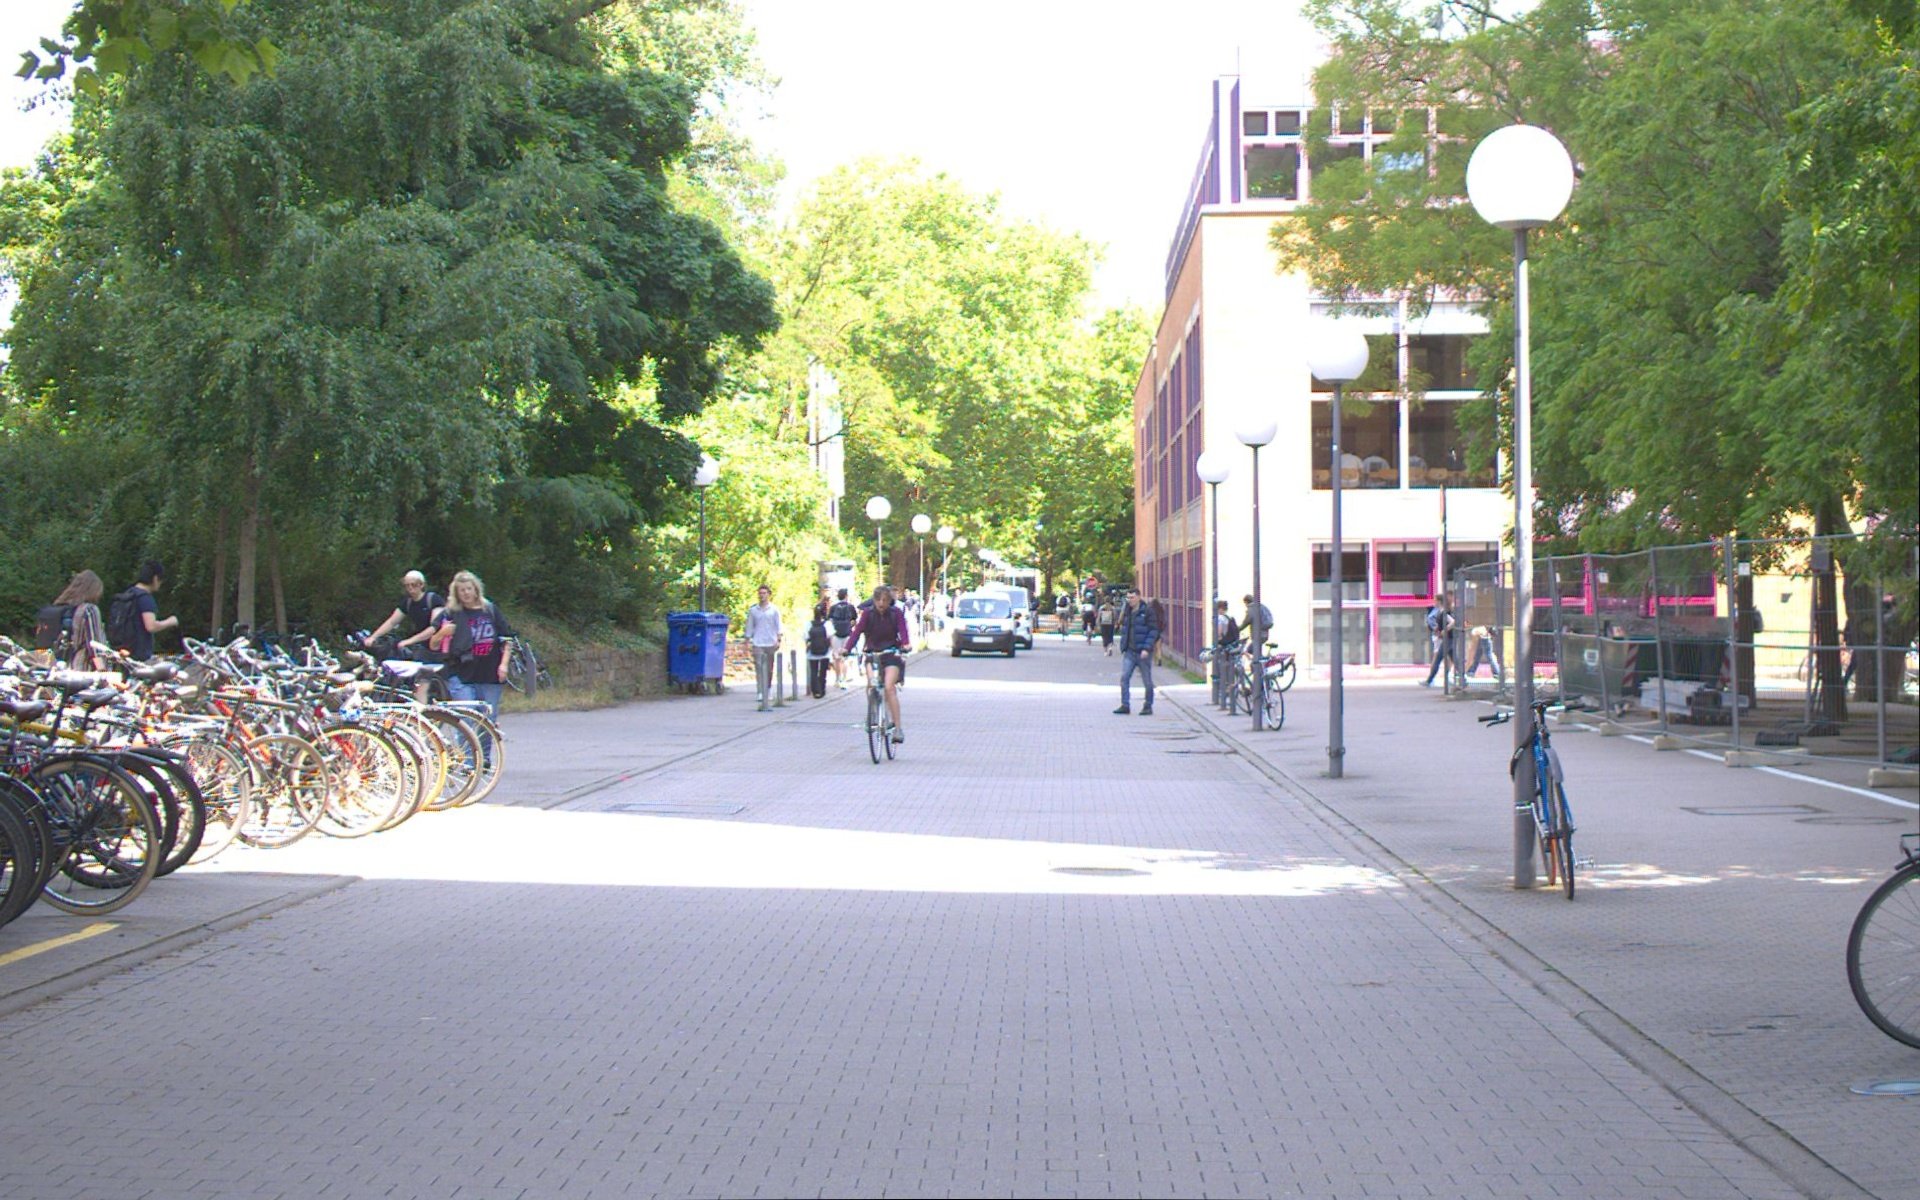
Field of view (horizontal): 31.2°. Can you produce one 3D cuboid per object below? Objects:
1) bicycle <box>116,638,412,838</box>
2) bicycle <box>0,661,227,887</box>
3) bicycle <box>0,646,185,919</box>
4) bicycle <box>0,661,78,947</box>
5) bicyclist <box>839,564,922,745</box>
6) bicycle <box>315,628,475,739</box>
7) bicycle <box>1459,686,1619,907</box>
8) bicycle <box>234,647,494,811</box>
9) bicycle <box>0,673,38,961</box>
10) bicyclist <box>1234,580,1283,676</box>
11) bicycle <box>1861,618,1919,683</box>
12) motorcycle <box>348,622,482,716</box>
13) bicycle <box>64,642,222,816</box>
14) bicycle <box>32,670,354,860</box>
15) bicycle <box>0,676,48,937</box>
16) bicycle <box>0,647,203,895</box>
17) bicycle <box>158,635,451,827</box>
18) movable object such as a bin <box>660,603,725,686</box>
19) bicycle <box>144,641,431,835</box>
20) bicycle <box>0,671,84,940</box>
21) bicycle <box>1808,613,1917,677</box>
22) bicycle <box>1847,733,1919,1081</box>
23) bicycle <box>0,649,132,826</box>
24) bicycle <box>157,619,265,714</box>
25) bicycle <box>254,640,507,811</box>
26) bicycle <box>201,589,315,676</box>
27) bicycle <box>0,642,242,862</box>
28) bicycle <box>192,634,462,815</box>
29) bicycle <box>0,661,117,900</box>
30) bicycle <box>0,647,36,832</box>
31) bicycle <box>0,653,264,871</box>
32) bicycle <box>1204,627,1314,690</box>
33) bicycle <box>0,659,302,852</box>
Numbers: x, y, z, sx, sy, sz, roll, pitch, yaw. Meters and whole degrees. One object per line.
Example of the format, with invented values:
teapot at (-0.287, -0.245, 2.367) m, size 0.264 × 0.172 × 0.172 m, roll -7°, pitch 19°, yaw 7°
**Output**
bicycle at (-4.156, 0.817, 20.537) m, size 1.693 × 1.164 × 0.474 m, roll 1°, pitch 0°, yaw -15°
bicycle at (-4.574, 0.865, 17.306) m, size 1.693 × 1.104 × 0.583 m, roll 1°, pitch 0°, yaw -9°
bicycle at (-4.368, 0.806, 15.388) m, size 1.694 × 1.194 × 0.537 m, roll 1°, pitch 0°, yaw -7°
bicycle at (-4.478, 0.819, 13.961) m, size 1.693 × 1.141 × 0.474 m, roll 1°, pitch 0°, yaw -10°
bicyclist at (-0.768, 0.526, 33.239) m, size 0.771 × 1.710 × 0.911 m, roll -1°, pitch -1°, yaw -1°
bicycle at (-5.831, 0.850, 35.566) m, size 0.473 × 1.106 × 1.841 m, roll 0°, pitch 0°, yaw 35°
bicycle at (2.989, 0.991, 17.870) m, size 0.537 × 1.036 × 1.858 m, roll -1°, pitch 0°, yaw 1°
bicycle at (-4.047, 0.873, 23.401) m, size 1.694 × 1.087 × 0.474 m, roll 1°, pitch 0°, yaw -4°
bicycle at (-4.508, 0.837, 13.437) m, size 1.693 × 1.104 × 0.497 m, roll 1°, pitch 0°, yaw -9°
bicyclist at (5.325, 0.494, 61.291) m, size 0.664 × 1.710 × 0.588 m, roll 0°, pitch 0°, yaw 34°
bicycle at (16.532, 0.879, 59.573) m, size 1.694 × 1.106 × 0.474 m, roll 1°, pitch 0°, yaw 5°
motorcycle at (-6.603, 0.826, 41.580) m, size 2.025 × 1.043 × 0.473 m, roll 2°, pitch 1°, yaw 44°
bicycle at (-5.389, 0.833, 22.765) m, size 0.507 × 1.080 × 1.699 m, roll 1°, pitch 0°, yaw 5°
bicycle at (-4.293, 0.906, 19.294) m, size 1.694 × 1.015 × 0.474 m, roll 1°, pitch 0°, yaw -33°
bicycle at (-4.830, 0.880, 14.802) m, size 1.693 × 1.104 × 0.474 m, roll 1°, pitch 0°, yaw -9°
bicycle at (-4.578, 0.826, 16.778) m, size 1.693 × 1.183 × 0.474 m, roll 1°, pitch 0°, yaw -9°
bicycle at (-4.155, 0.818, 21.791) m, size 1.777 × 1.164 × 0.474 m, roll 1°, pitch 0°, yaw 15°
movable object such as a bin at (-4.430, 0.735, 56.972) m, size 0.709 × 1.332 × 1.238 m, roll 3°, pitch 0°, yaw 12°
bicycle at (-4.115, 0.843, 21.079) m, size 1.693 × 1.164 × 0.474 m, roll 1°, pitch 0°, yaw -11°
bicycle at (-4.569, 0.853, 14.421) m, size 1.693 × 1.104 × 0.474 m, roll 1°, pitch 0°, yaw -10°
bicycle at (16.330, 0.810, 62.224) m, size 1.810 × 1.106 × 0.523 m, roll 1°, pitch 0°, yaw 5°
bicycle at (3.721, 0.941, 10.820) m, size 1.738 × 1.036 × 0.449 m, roll -1°, pitch 1°, yaw -3°
bicycle at (-6.113, 0.850, 21.671) m, size 1.695 × 1.080 × 0.474 m, roll 1°, pitch 0°, yaw 14°
bicycle at (-8.542, 0.751, 39.182) m, size 0.473 × 1.043 × 1.699 m, roll 1°, pitch 0°, yaw -39°
bicycle at (-4.012, 0.867, 23.870) m, size 1.694 × 1.155 × 0.474 m, roll 1°, pitch 0°, yaw -7°
bicycle at (-8.767, 0.412, 42.979) m, size 0.473 × 1.043 × 1.697 m, roll 2°, pitch 0°, yaw 23°
bicycle at (-4.759, 0.805, 18.457) m, size 1.694 × 1.153 × 0.474 m, roll 1°, pitch 0°, yaw -25°
bicycle at (-4.158, 0.816, 22.643) m, size 1.694 × 1.164 × 0.474 m, roll 1°, pitch 0°, yaw -4°
bicycle at (-4.880, 0.843, 16.234) m, size 1.693 × 1.104 × 0.566 m, roll 1°, pitch 0°, yaw -9°
bicycle at (-6.428, 0.817, 20.608) m, size 1.695 × 1.080 × 0.474 m, roll 1°, pitch 0°, yaw 15°
bicycle at (-4.555, 0.837, 18.037) m, size 1.694 × 1.104 × 0.474 m, roll 1°, pitch 0°, yaw -25°
bicycle at (5.325, 1.041, 61.278) m, size 1.905 × 1.080 × 0.588 m, roll 0°, pitch 0°, yaw 34°
bicycle at (-4.657, 0.873, 19.658) m, size 1.694 × 1.058 × 0.474 m, roll 1°, pitch 0°, yaw -33°
